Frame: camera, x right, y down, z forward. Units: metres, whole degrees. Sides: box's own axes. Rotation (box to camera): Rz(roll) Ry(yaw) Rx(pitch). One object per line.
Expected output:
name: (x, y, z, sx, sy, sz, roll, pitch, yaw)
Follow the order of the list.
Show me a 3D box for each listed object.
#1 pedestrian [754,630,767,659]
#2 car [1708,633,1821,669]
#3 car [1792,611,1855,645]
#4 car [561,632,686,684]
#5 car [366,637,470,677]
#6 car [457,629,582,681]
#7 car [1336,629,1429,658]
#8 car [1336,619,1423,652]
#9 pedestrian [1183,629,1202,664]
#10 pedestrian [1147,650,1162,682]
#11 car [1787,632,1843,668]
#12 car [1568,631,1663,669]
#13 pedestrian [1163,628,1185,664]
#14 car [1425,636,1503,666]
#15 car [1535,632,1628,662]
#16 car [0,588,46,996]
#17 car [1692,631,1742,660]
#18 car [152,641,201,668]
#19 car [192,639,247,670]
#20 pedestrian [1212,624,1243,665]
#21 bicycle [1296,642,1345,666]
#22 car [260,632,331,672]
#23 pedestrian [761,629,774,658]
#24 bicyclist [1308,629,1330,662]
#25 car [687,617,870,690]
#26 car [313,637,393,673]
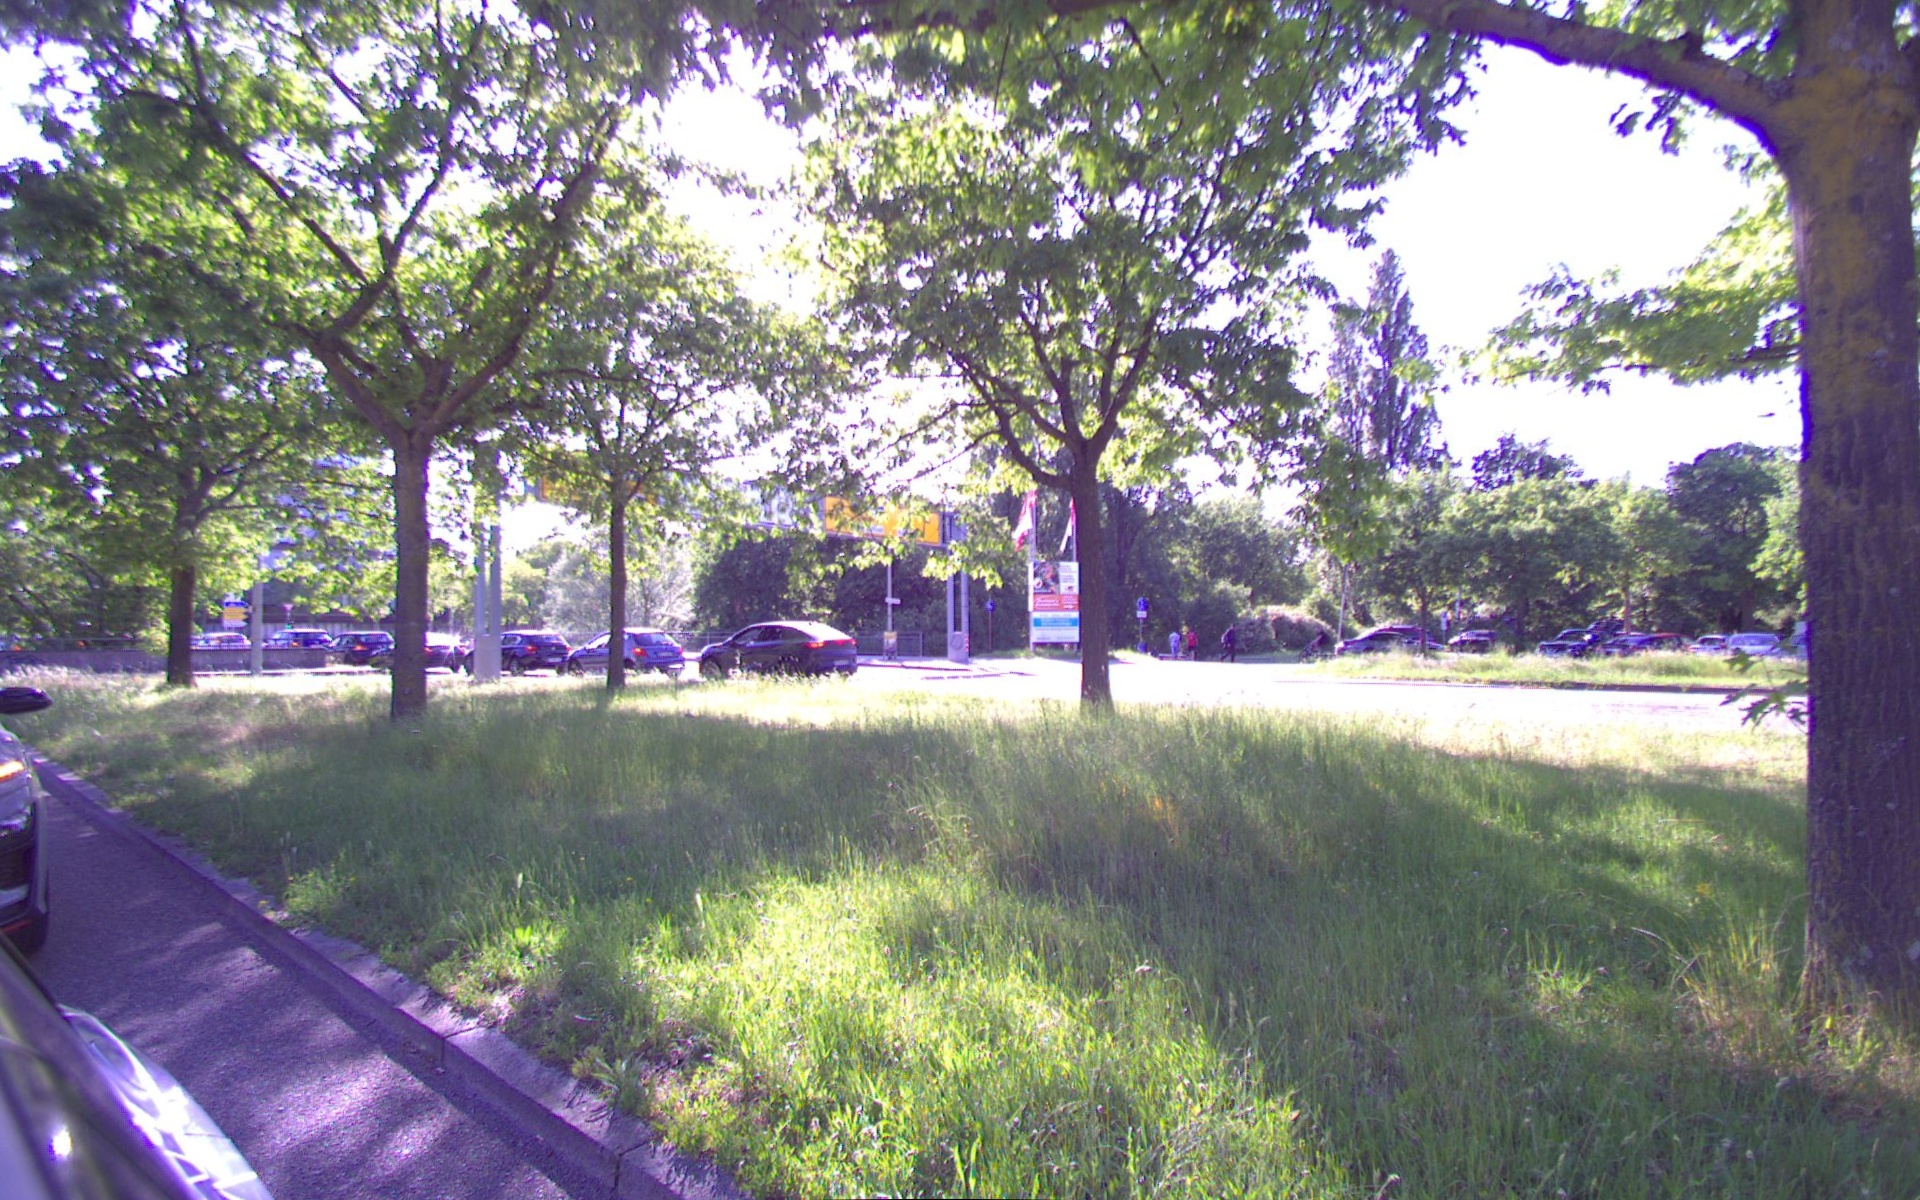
pedestrian: (-10.402, 2.325, 52.762, 0.544, 1.510, 0.416, -2, -2, 33)
car: (26.886, 1.689, 33.908, 2.783, 1.165, 1.327, -1, -2, 32)
car: (43.887, 1.404, 51.395, 3.694, 1.681, 1.895, 1, -2, -41)
car: (-9.587, 1.640, 28.783, 3.601, 1.374, 1.543, -2, -2, 35)
car: (-19.224, 1.981, 35.854, 4.058, 1.323, 1.604, -2, -2, 35)
car: (-14.166, 1.732, 32.451, 4.215, 1.562, 1.853, -2, -2, 37)
car: (21.129, 2.192, 50.755, 3.957, 1.385, 1.826, -1, -2, 11)
car: (22.419, 1.887, 54.285, 3.959, 1.678, 1.992, -1, -2, 13)
pedestrian: (12.173, 2.419, 53.019, 0.742, 1.802, 0.905, -1, 0, 2)
pedestrian: (13.075, 4.419, 68.141, 0.847, 2.060, 0.863, -1, 0, 1)
car: (35.613, 2.056, 42.217, 1.617, 1.430, 3.038, -2, -2, 38)
car: (23.534, 1.777, 36.432, 2.783, 1.315, 1.327, -2, -2, 32)
pedestrian: (11.309, 2.418, 53.450, 0.845, 1.881, 0.904, -1, 0, -8)
car: (31.550, 3.182, 63.482, 3.961, 1.807, 1.991, -1, -2, 14)
car: (23.354, 1.766, 38.115, 2.774, 1.072, 1.324, -1, -2, 23)
car: (-5.631, 0.764, 4.599, 3.986, 1.544, 1.730, -2, -2, 41)
car: (32.970, 1.975, 44.112, 1.616, 1.187, 3.040, -2, -2, 35)
car: (-39.997, 2.769, 51.658, 2.761, 1.270, 1.186, -4, -3, 35)
car: (-35.091, 2.582, 47.941, 2.875, 1.350, 1.214, -5, -4, 34)
pedestrian: (10.966, 1.807, 41.528, 0.985, 1.642, 0.904, -2, -2, 33)
bicycle: (16.522, 2.478, 46.382, 2.016, 1.060, 0.684, -1, -2, 13)
car: (-28.132, 2.200, 42.835, 3.195, 1.571, 1.433, -4, -3, 34)
pedestrian: (-10.133, 2.303, 53.214, 0.544, 1.510, 0.416, -2, -2, 33)
bicyclist: (16.459, 2.075, 46.437, 0.839, 1.500, 0.678, -1, -2, 13)
car: (-4.509, 1.270, 24.919, 4.448, 1.660, 1.811, -2, -2, 34)
car: (-23.417, 2.119, 39.026, 3.195, 1.349, 1.464, -3, -2, 35)
